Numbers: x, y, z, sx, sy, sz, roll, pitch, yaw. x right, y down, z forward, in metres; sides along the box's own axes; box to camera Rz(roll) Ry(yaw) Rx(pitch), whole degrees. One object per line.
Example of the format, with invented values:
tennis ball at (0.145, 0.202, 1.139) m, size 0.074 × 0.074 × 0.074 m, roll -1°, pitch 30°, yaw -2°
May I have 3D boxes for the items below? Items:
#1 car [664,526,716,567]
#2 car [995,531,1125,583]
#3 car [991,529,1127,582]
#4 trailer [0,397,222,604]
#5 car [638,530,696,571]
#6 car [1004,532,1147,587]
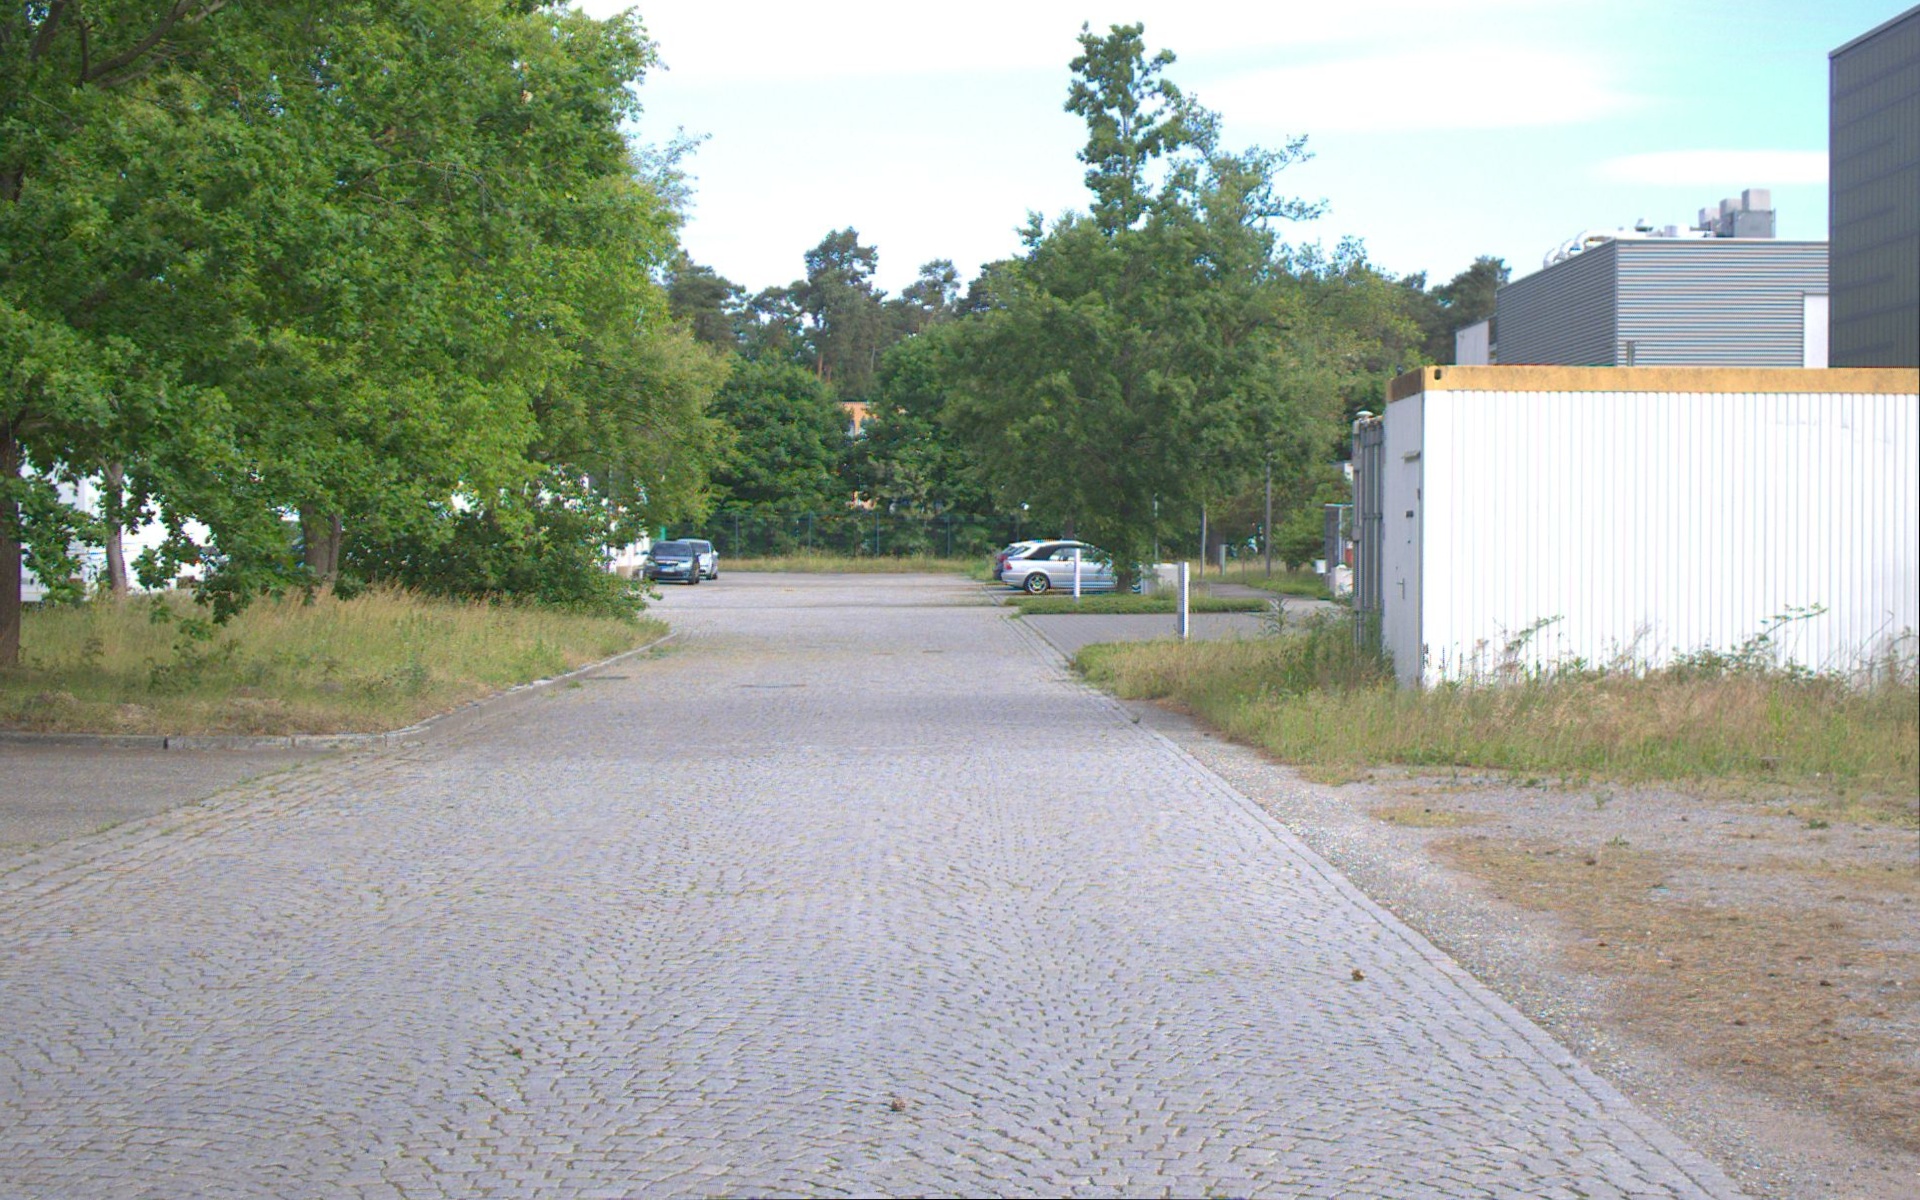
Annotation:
car at (-9.991, -1.989, 127.266) m, size 1.647 × 1.453 × 3.998 m, roll 1°, pitch 1°, yaw -1°
car at (2.765, -1.193, 95.443) m, size 3.522 × 1.357 × 1.622 m, roll -1°, pitch 1°, yaw 0°
car at (2.957, -1.349, 103.269) m, size 3.984 × 1.470 × 1.653 m, roll -2°, pitch 1°, yaw 0°
trailer at (-16.500, -1.841, 65.066) m, size 2.625 × 3.585 × 10.177 m, roll 1°, pitch 1°, yaw 1°
car at (-9.949, -1.694, 116.926) m, size 1.647 × 1.364 × 3.998 m, roll 1°, pitch 1°, yaw -1°
car at (3.272, -1.169, 98.141) m, size 3.984 × 1.443 × 1.653 m, roll -1°, pitch 1°, yaw 0°
